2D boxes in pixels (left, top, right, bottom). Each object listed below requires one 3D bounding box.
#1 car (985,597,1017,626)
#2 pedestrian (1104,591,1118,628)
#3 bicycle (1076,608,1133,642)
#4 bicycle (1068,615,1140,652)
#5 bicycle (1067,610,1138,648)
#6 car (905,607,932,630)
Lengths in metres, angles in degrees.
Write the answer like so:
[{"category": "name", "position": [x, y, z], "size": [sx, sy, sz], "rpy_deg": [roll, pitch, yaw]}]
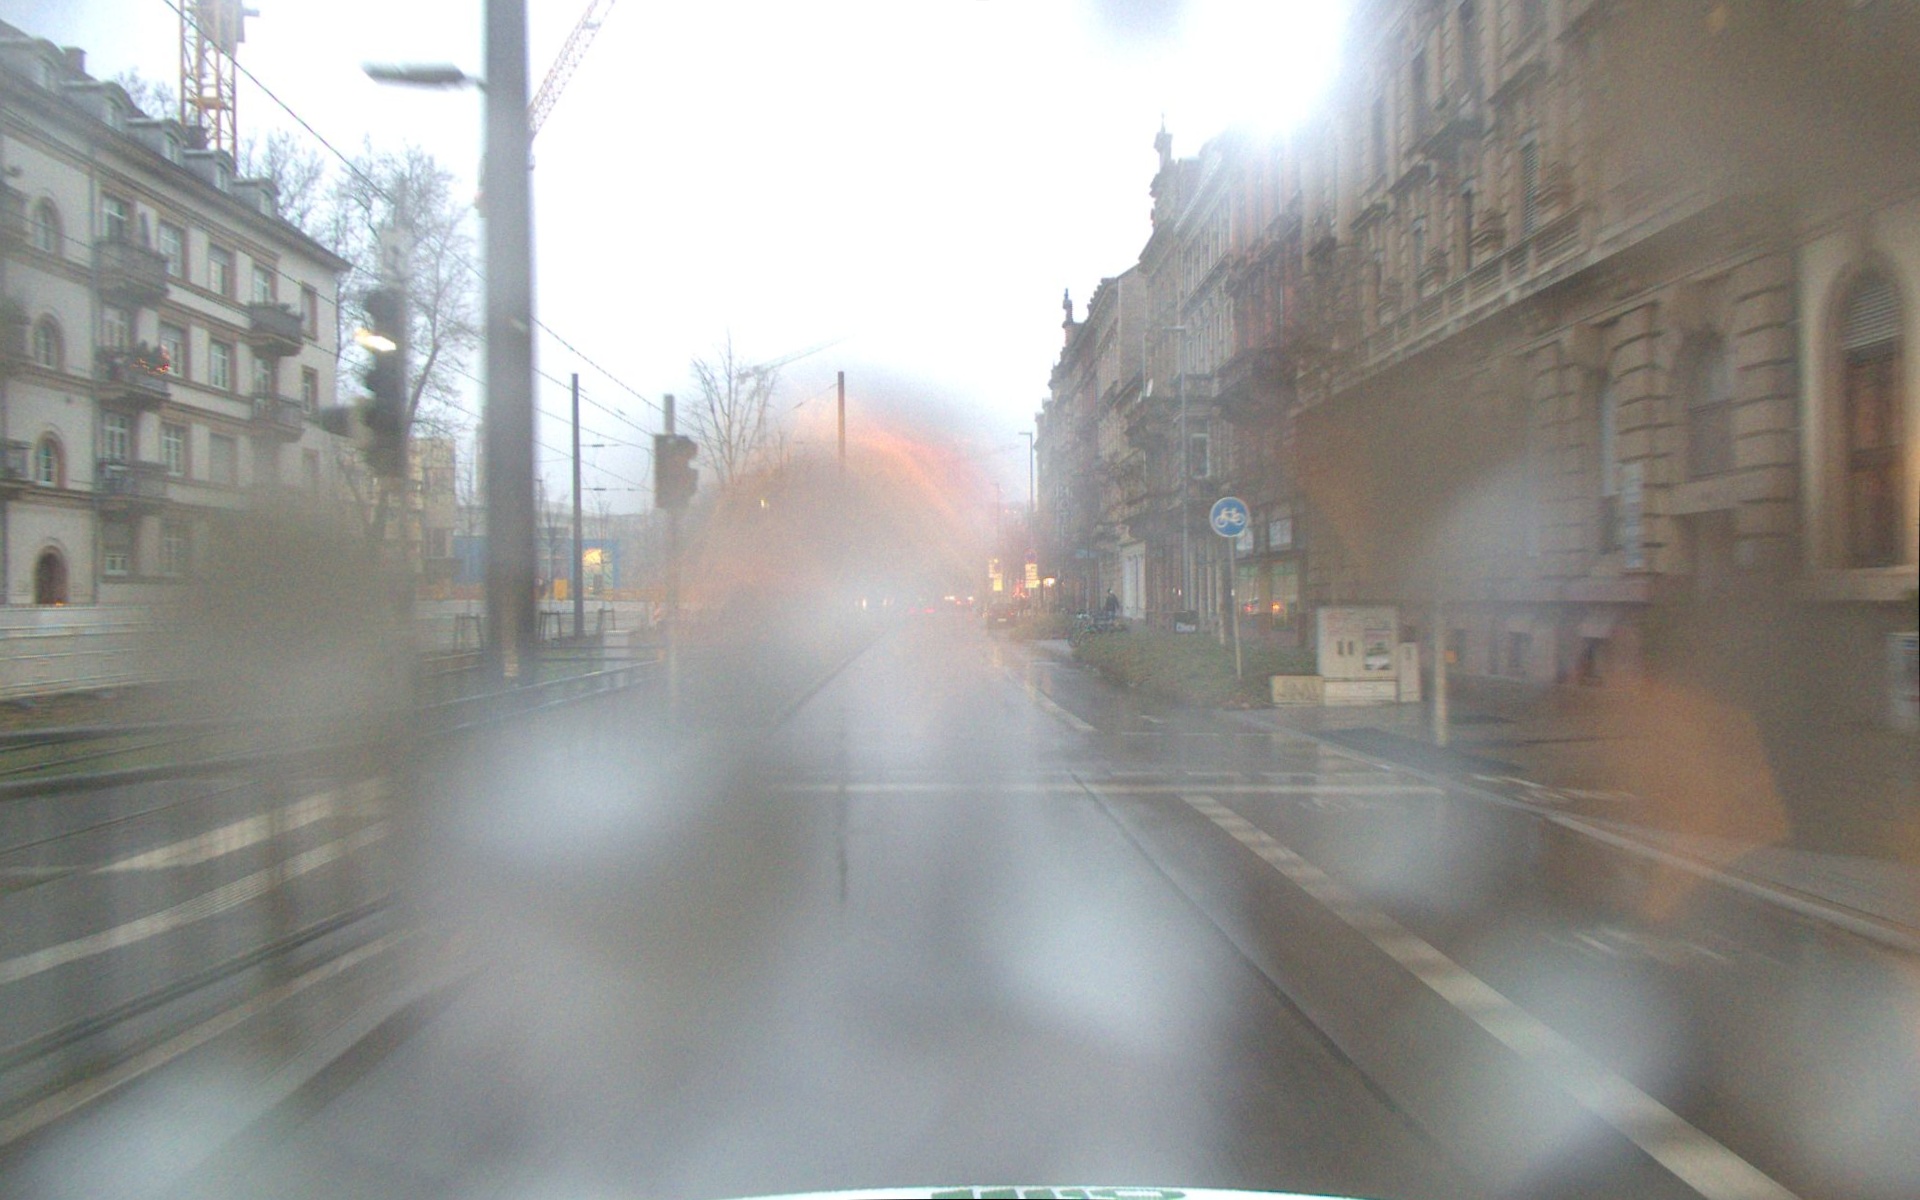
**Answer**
[{"category": "car", "position": [2.392, 0.681, 96.890], "size": [1.762, 1.632, 3.770], "rpy_deg": [-1, 0, 1]}, {"category": "pedestrian", "position": [7.375, 0.457, 80.731], "size": [0.590, 1.817, 0.528], "rpy_deg": [-1, 0, -1]}, {"category": "bicycle", "position": [4.715, 0.821, 54.034], "size": [1.814, 1.077, 0.471], "rpy_deg": [-1, 0, -4]}, {"category": "bicycle", "position": [4.503, 1.048, 51.763], "size": [2.204, 1.076, 0.525], "rpy_deg": [-1, 0, -4]}, {"category": "bicycle", "position": [4.343, 0.878, 50.439], "size": [2.106, 1.076, 0.525], "rpy_deg": [-1, 0, -7]}, {"category": "car", "position": [-2.823, 1.263, 113.563], "size": [1.747, 1.492, 3.148], "rpy_deg": [-1, 0, 0]}]
